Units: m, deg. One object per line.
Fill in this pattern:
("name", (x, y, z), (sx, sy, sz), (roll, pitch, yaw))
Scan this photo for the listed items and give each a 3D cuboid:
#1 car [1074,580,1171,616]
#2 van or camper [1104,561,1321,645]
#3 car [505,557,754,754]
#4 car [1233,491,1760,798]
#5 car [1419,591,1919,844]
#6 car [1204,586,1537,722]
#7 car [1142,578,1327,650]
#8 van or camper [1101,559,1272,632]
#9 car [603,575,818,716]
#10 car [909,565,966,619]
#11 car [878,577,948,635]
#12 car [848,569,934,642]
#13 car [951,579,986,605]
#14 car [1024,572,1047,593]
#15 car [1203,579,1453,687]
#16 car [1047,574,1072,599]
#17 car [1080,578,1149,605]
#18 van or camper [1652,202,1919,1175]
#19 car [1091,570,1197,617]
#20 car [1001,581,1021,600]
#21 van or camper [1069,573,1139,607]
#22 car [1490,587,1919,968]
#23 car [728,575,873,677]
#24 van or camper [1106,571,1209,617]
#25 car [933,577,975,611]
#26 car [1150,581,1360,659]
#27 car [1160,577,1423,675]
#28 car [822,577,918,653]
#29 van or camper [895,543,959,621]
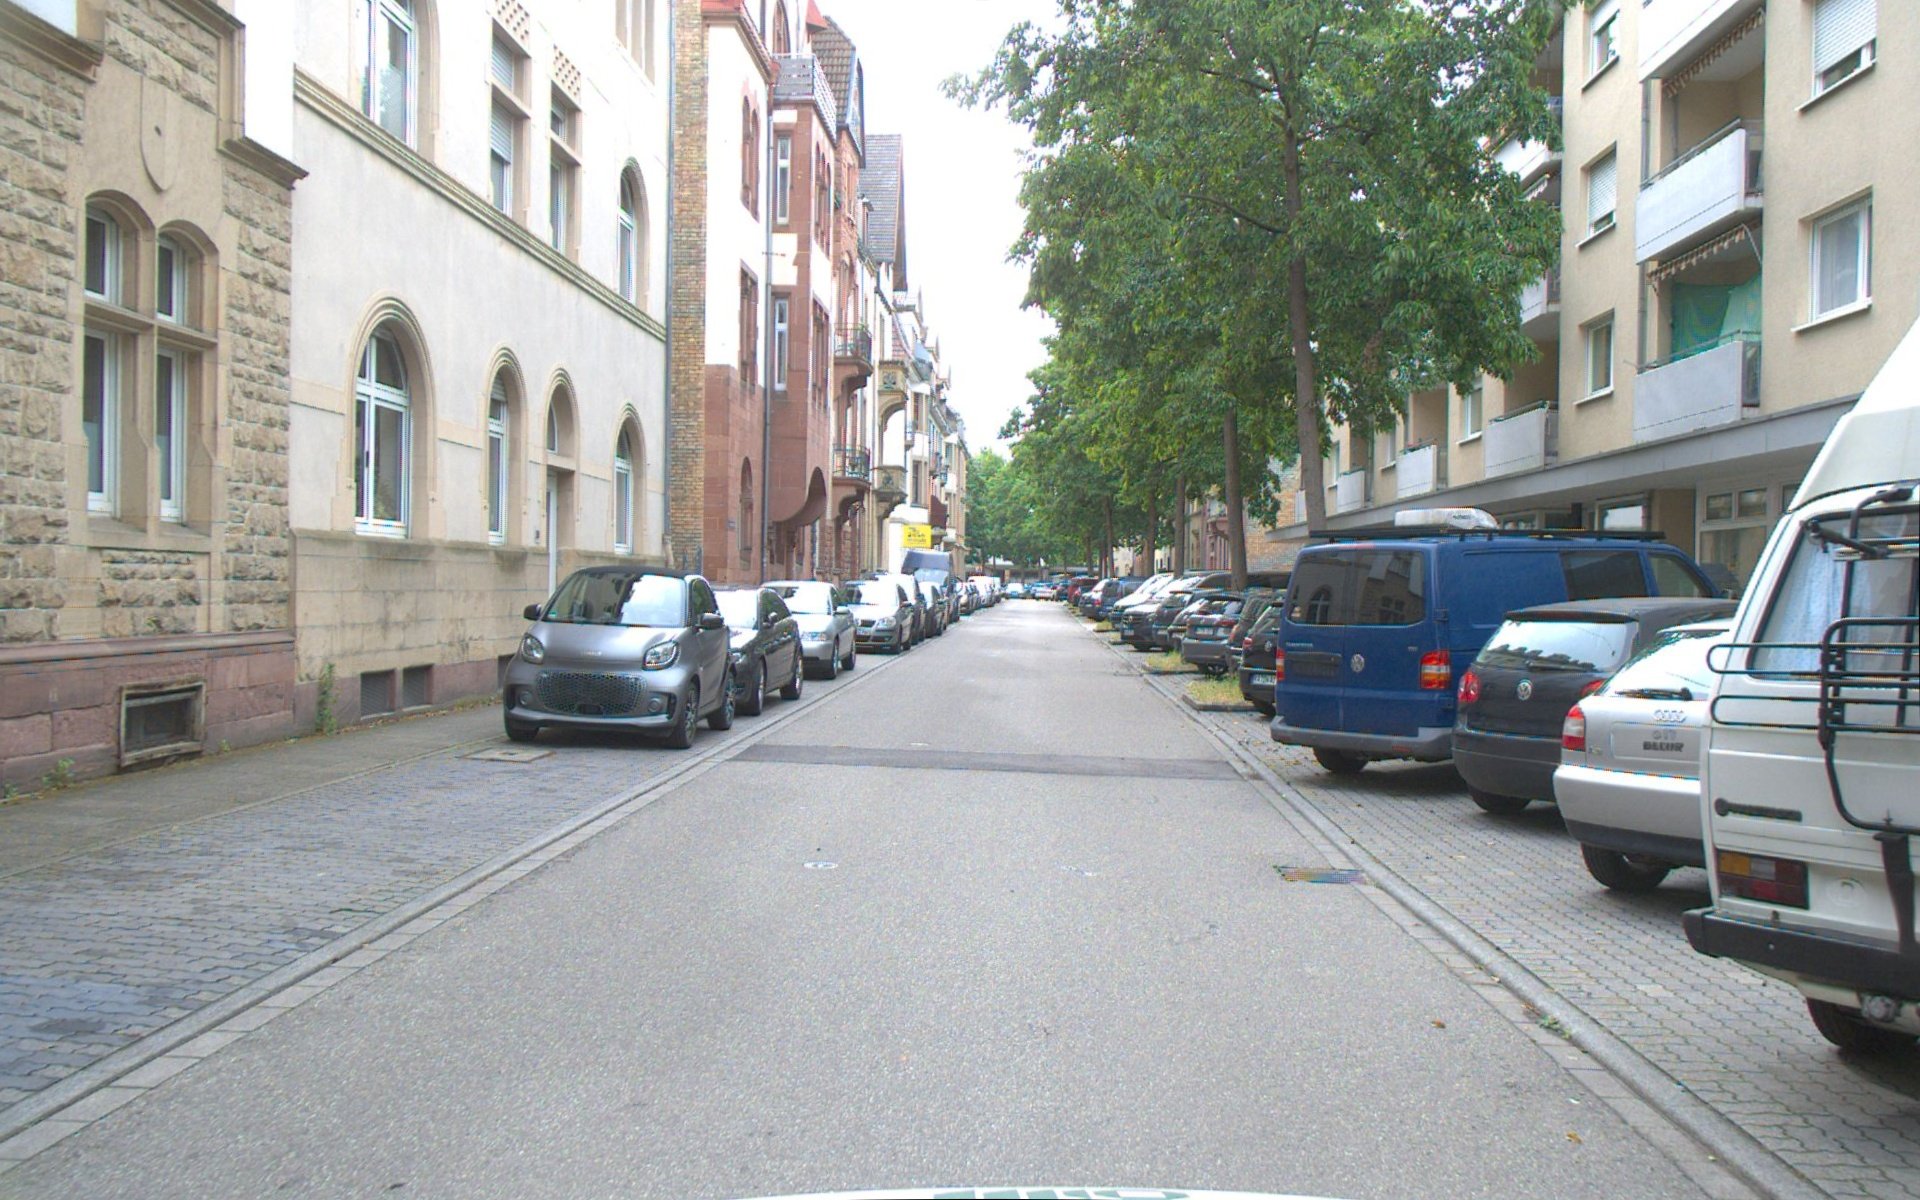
("car", (7.233, -0.085, 73.737), (3.965, 1.586, 1.867), (0, 1, -29))
("van or camper", (6.201, 0.046, 40.552), (4.943, 1.902, 2.110), (-1, 1, -25))
("car", (-2.990, 0.433, 15.497), (1.612, 1.598, 2.958), (2, 2, 2))
("car", (4.727, 0.221, 14.274), (4.657, 2.234, 2.040), (-3, 2, -37))
("car", (5.127, 0.703, 11.603), (3.618, 1.506, 1.671), (0, 1, -31))
("car", (5.026, 0.577, 20.047), (4.071, 1.467, 1.828), (-1, 1, -38))
("car", (6.251, 0.294, 37.626), (3.803, 1.528, 1.896), (-1, 0, -27))
("van or camper", (6.767, -0.137, 49.418), (4.665, 2.029, 1.986), (-1, -1, -23))
("car", (-2.796, 0.487, 19.344), (1.690, 1.411, 3.930), (2, 0, 3))
("car", (-0.842, -0.349, 65.815), (1.952, 2.049, 4.893), (0, 1, 3))
("car", (-1.271, 0.139, 46.294), (1.600, 1.498, 4.002), (2, 1, 3))
("car", (-1.671, 0.086, 41.471), (1.749, 1.675, 4.363), (2, 1, 2))
("car", (0.544, -0.509, 100.453), (1.952, 1.501, 4.002), (0, 1, 3))
("car", (6.806, -1.582, 149.847), (1.952, 1.825, 4.000), (2, 0, 1))
("car", (5.674, 0.478, 25.579), (3.310, 1.523, 1.841), (-1, 0, -20))
("car", (8.658, -1.177, 144.220), (1.952, 2.048, 4.001), (3, 1, 2))
("car", (8.686, -0.501, 93.389), (3.686, 1.490, 1.728), (0, 1, -3))
("van or camper", (4.610, 0.239, 5.550), (4.533, 2.641, 1.892), (0, 1, -30))
("car", (7.889, -0.278, 70.875), (4.123, 1.902, 1.982), (-2, 0, -27))
("car", (4.909, -0.900, 158.991), (1.783, 1.673, 3.754), (2, 0, 2))
("van or camper", (9.342, -0.651, 107.152), (4.095, 2.122, 1.937), (0, 1, -26))
("car", (4.718, 0.724, 8.595), (3.767, 1.442, 1.707), (-3, 2, -31))
("car", (-2.452, 0.352, 26.313), (1.690, 1.410, 4.138), (2, 1, 2))
("van or camper", (9.631, -0.302, 80.659), (4.721, 2.175, 2.036), (0, 1, -29))
("car", (-0.247, -0.304, 77.524), (1.752, 1.506, 4.024), (2, 1, 2))
("car", (6.208, 0.388, 34.848), (3.985, 1.509, 1.934), (-1, 0, -24))
("car", (5.779, 0.418, 28.836), (4.160, 1.527, 1.960), (-2, 0, -25))
("car", (-1.853, 0.272, 35.087), (1.628, 1.445, 3.930), (2, 1, 2))
("van or camper", (-1.157, -0.654, 60.437), (1.966, 2.698, 5.318), (0, 1, 3))
